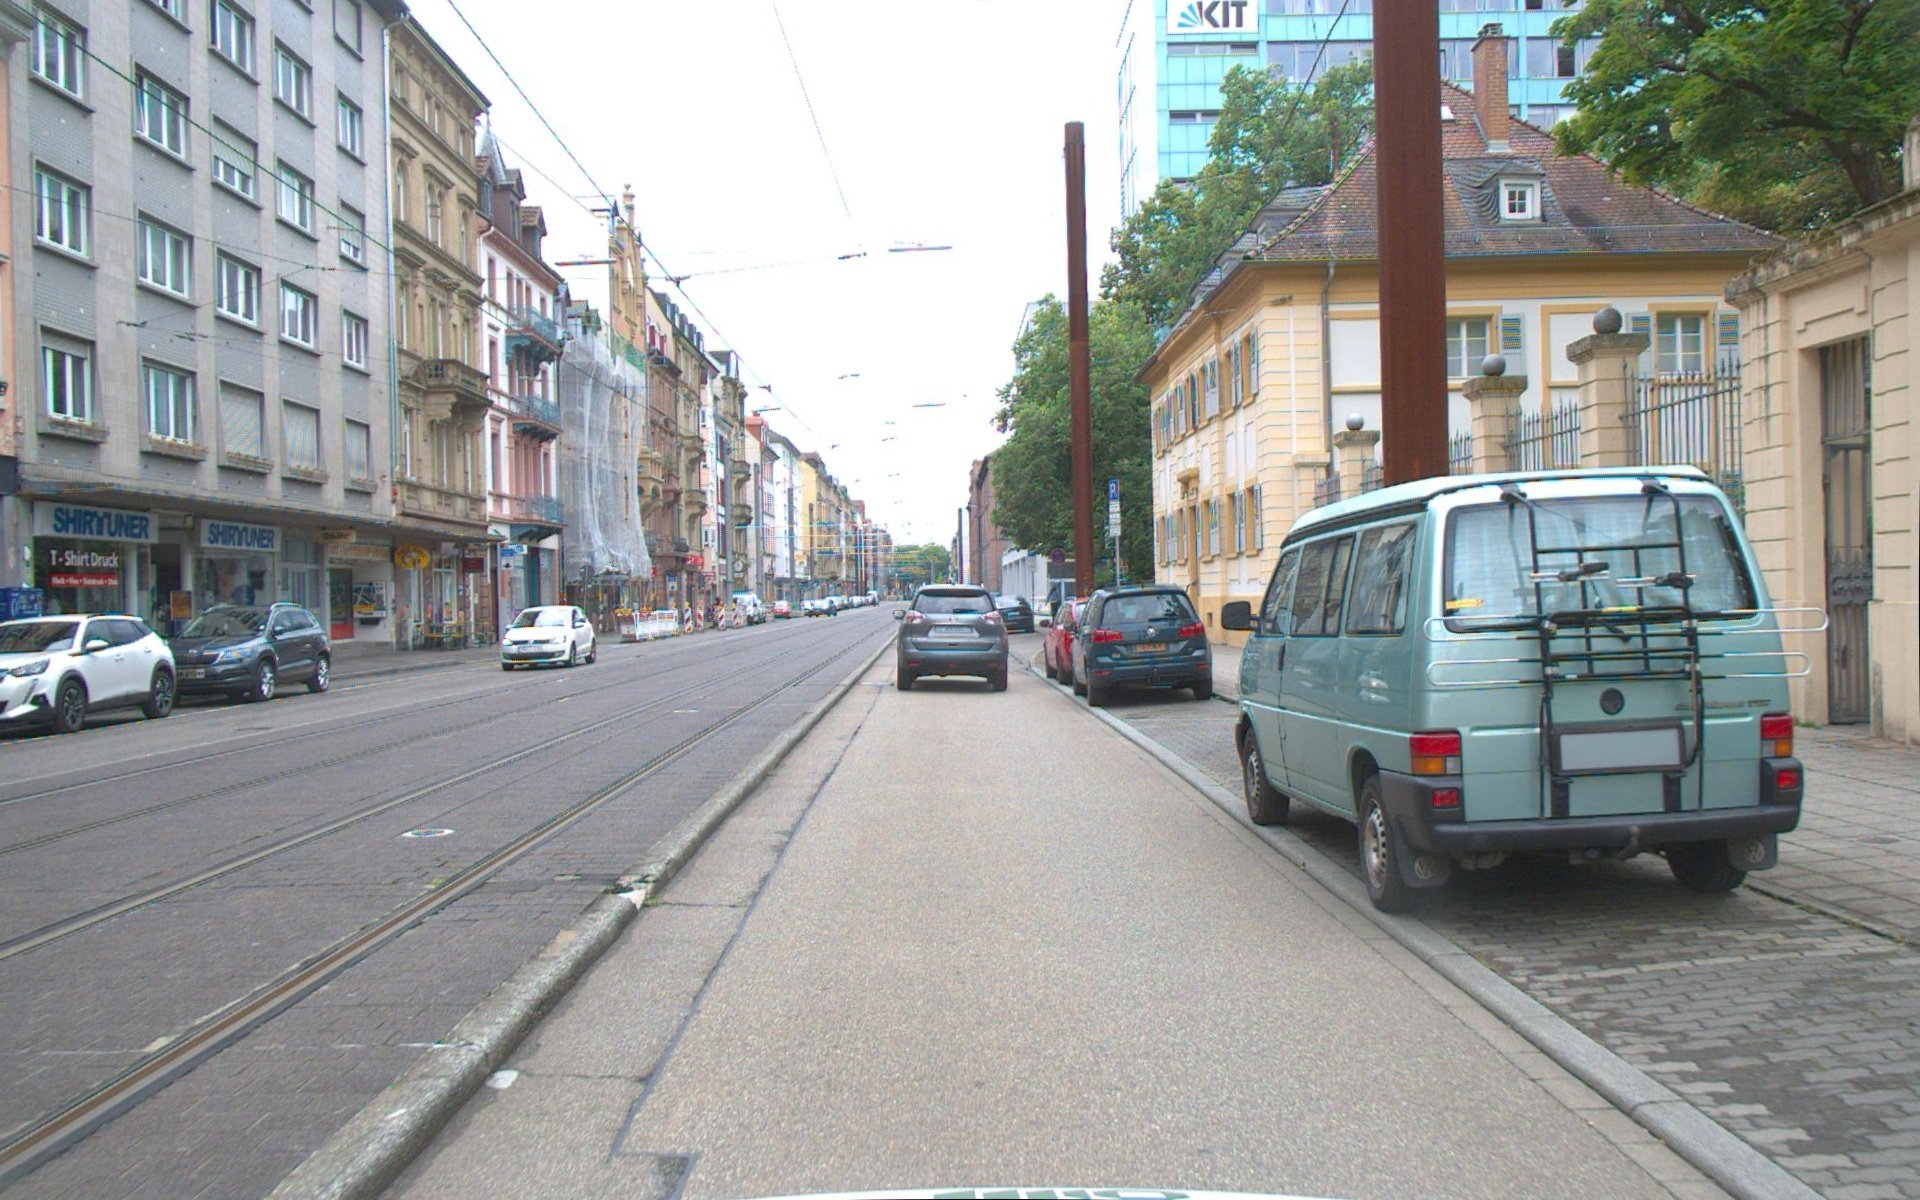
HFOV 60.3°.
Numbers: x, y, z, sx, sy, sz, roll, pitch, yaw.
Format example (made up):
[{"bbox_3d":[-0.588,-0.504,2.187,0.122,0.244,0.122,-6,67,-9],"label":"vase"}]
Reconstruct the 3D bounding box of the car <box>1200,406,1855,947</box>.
[{"bbox_3d":[2.754,0.310,9.449,1.814,2.151,4.983,-4,0,-1],"label":"car"}]

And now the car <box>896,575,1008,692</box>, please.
[{"bbox_3d":[-0.159,0.520,27.728,1.714,1.786,3.922,1,0,-1],"label":"car"}]

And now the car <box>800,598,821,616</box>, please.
[{"bbox_3d":[-14.333,0.699,158.956,1.954,1.663,3.996,-1,-1,-4],"label":"car"}]

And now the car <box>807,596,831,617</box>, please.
[{"bbox_3d":[-11.792,0.547,138.605,1.954,1.663,3.996,-1,-1,-4],"label":"car"}]

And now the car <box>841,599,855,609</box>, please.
[{"bbox_3d":[-15.653,0.558,231.715,1.954,1.288,3.996,-1,-1,-4],"label":"car"}]

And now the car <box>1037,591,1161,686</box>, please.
[{"bbox_3d":[2.407,0.634,29.539,1.714,1.466,3.922,-4,0,-1],"label":"car"}]

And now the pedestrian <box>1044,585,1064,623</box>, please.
[{"bbox_3d":[4.738,0.201,83.388,0.892,1.919,0.846,-1,-1,-2],"label":"pedestrian"}]

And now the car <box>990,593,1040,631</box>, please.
[{"bbox_3d":[2.137,0.453,65.240,1.740,1.445,4.134,-1,0,-1],"label":"car"}]

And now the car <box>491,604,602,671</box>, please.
[{"bbox_3d":[-9.822,0.858,39.563,1.653,1.445,4.134,-1,0,-1],"label":"car"}]

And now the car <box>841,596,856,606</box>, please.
[{"bbox_3d":[-15.313,0.200,227.218,1.954,1.288,3.996,-1,-1,-4],"label":"car"}]

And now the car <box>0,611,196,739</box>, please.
[{"bbox_3d":[-12.303,0.951,22.592,1.740,1.531,4.400,-1,0,-1],"label":"car"}]

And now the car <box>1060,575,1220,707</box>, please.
[{"bbox_3d":[2.500,0.538,23.847,1.714,1.623,3.922,-4,0,-1],"label":"car"}]

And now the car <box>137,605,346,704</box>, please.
[{"bbox_3d":[-12.315,0.879,28.665,1.740,1.531,4.400,-1,0,-1],"label":"car"}]

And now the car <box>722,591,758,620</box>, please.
[{"bbox_3d":[-13.666,0.371,102.977,1.954,1.736,3.996,-1,-1,-4],"label":"car"}]

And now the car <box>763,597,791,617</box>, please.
[{"bbox_3d":[-14.202,0.567,128.578,1.954,1.490,3.996,-1,-1,-4],"label":"car"}]

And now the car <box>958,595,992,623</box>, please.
[{"bbox_3d":[0.819,0.492,91.020,1.740,1.445,4.134,-1,0,-1],"label":"car"}]

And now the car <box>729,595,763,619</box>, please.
[{"bbox_3d":[-14.086,0.474,109.209,1.954,1.490,3.996,-1,-1,-4],"label":"car"}]

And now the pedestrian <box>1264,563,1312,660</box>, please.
[{"bbox_3d":[5.907,0.199,29.810,0.629,1.717,0.891,-1,0,-1],"label":"pedestrian"}]
